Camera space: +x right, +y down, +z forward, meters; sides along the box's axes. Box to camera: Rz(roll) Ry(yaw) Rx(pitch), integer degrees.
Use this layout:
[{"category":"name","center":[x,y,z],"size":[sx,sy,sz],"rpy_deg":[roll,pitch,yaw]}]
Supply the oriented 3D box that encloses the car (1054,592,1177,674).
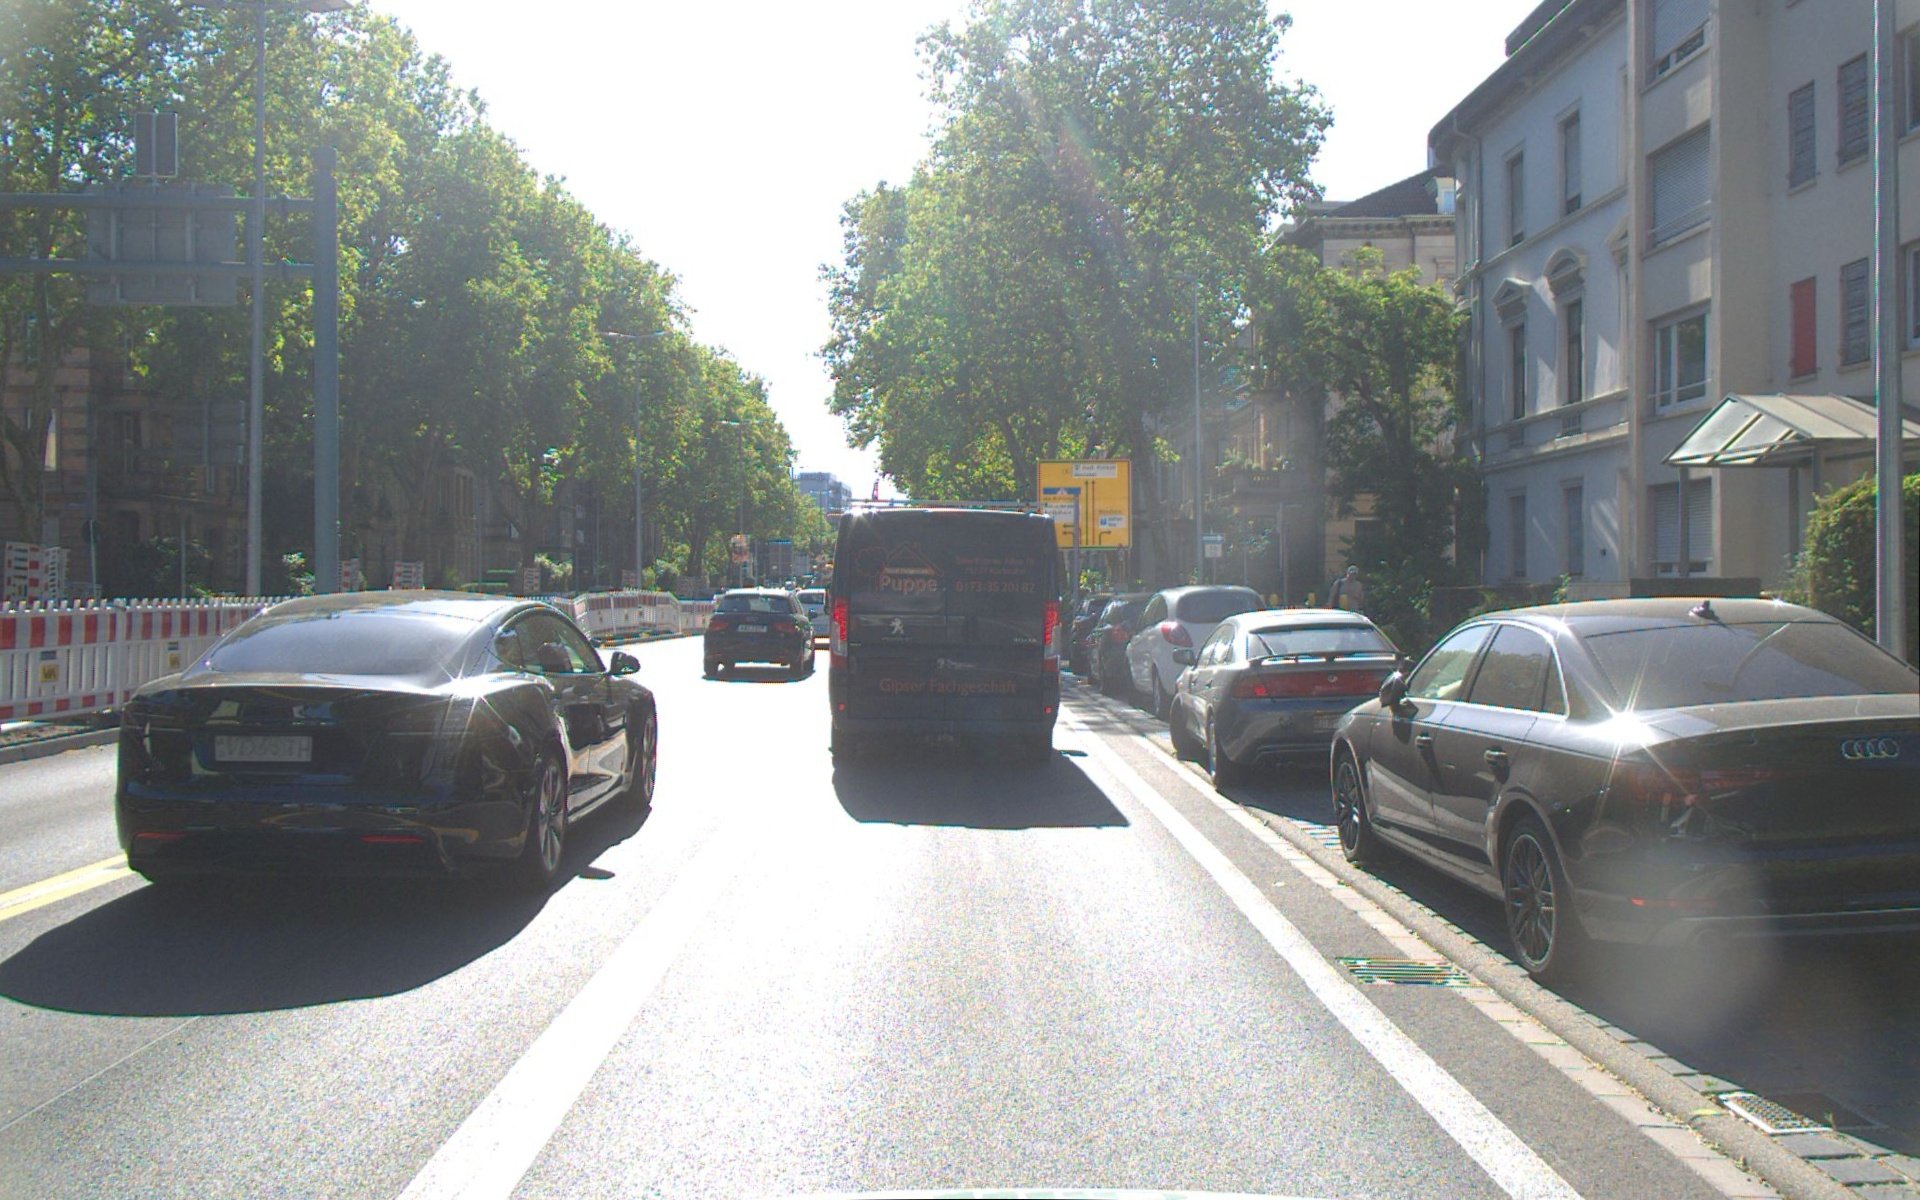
[{"category":"car","center":[2.872,0.583,31.314],"size":[1.807,1.436,3.798],"rpy_deg":[-1,0,-3]}]

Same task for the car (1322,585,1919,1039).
[{"category":"car","center":[3.106,0.682,7.682],"size":[1.807,1.467,4.486],"rpy_deg":[-1,0,-1]}]

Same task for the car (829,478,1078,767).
[{"category":"car","center":[-0.122,0.158,15.767],"size":[2.053,2.396,3.932],"rpy_deg":[1,1,-2]}]

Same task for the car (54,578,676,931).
[{"category":"car","center":[-2.933,0.631,9.376],"size":[1.886,1.436,4.625],"rpy_deg":[2,1,-1]}]

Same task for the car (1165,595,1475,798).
[{"category":"car","center":[2.834,0.690,13.847],"size":[1.806,1.433,3.801],"rpy_deg":[-1,0,1]}]

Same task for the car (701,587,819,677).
[{"category":"car","center":[-3.400,0.504,28.713],"size":[1.711,1.432,3.998],"rpy_deg":[1,0,-3]}]

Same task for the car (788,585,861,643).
[{"category":"car","center":[-3.475,0.347,42.881],"size":[1.515,1.450,3.555],"rpy_deg":[0,0,1]}]

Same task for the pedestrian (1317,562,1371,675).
[{"category":"pedestrian","center":[7.127,0.330,30.745],"size":[0.781,2.049,1.168],"rpy_deg":[-1,0,3]}]

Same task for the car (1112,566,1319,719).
[{"category":"car","center":[3.074,0.472,20.640],"size":[1.807,1.672,3.798],"rpy_deg":[-2,0,-3]}]

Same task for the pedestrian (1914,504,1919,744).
[{"category":"pedestrian","center":[7.410,0.177,11.878],"size":[0.661,1.786,0.876],"rpy_deg":[-1,0,8]}]

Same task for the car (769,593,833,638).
[{"category":"car","center":[-5.822,0.530,60.809],"size":[1.953,1.495,4.000],"rpy_deg":[1,1,0]}]

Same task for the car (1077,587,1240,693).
[{"category":"car","center":[2.861,0.542,24.582],"size":[1.807,1.433,3.798],"rpy_deg":[-1,0,-3]}]
